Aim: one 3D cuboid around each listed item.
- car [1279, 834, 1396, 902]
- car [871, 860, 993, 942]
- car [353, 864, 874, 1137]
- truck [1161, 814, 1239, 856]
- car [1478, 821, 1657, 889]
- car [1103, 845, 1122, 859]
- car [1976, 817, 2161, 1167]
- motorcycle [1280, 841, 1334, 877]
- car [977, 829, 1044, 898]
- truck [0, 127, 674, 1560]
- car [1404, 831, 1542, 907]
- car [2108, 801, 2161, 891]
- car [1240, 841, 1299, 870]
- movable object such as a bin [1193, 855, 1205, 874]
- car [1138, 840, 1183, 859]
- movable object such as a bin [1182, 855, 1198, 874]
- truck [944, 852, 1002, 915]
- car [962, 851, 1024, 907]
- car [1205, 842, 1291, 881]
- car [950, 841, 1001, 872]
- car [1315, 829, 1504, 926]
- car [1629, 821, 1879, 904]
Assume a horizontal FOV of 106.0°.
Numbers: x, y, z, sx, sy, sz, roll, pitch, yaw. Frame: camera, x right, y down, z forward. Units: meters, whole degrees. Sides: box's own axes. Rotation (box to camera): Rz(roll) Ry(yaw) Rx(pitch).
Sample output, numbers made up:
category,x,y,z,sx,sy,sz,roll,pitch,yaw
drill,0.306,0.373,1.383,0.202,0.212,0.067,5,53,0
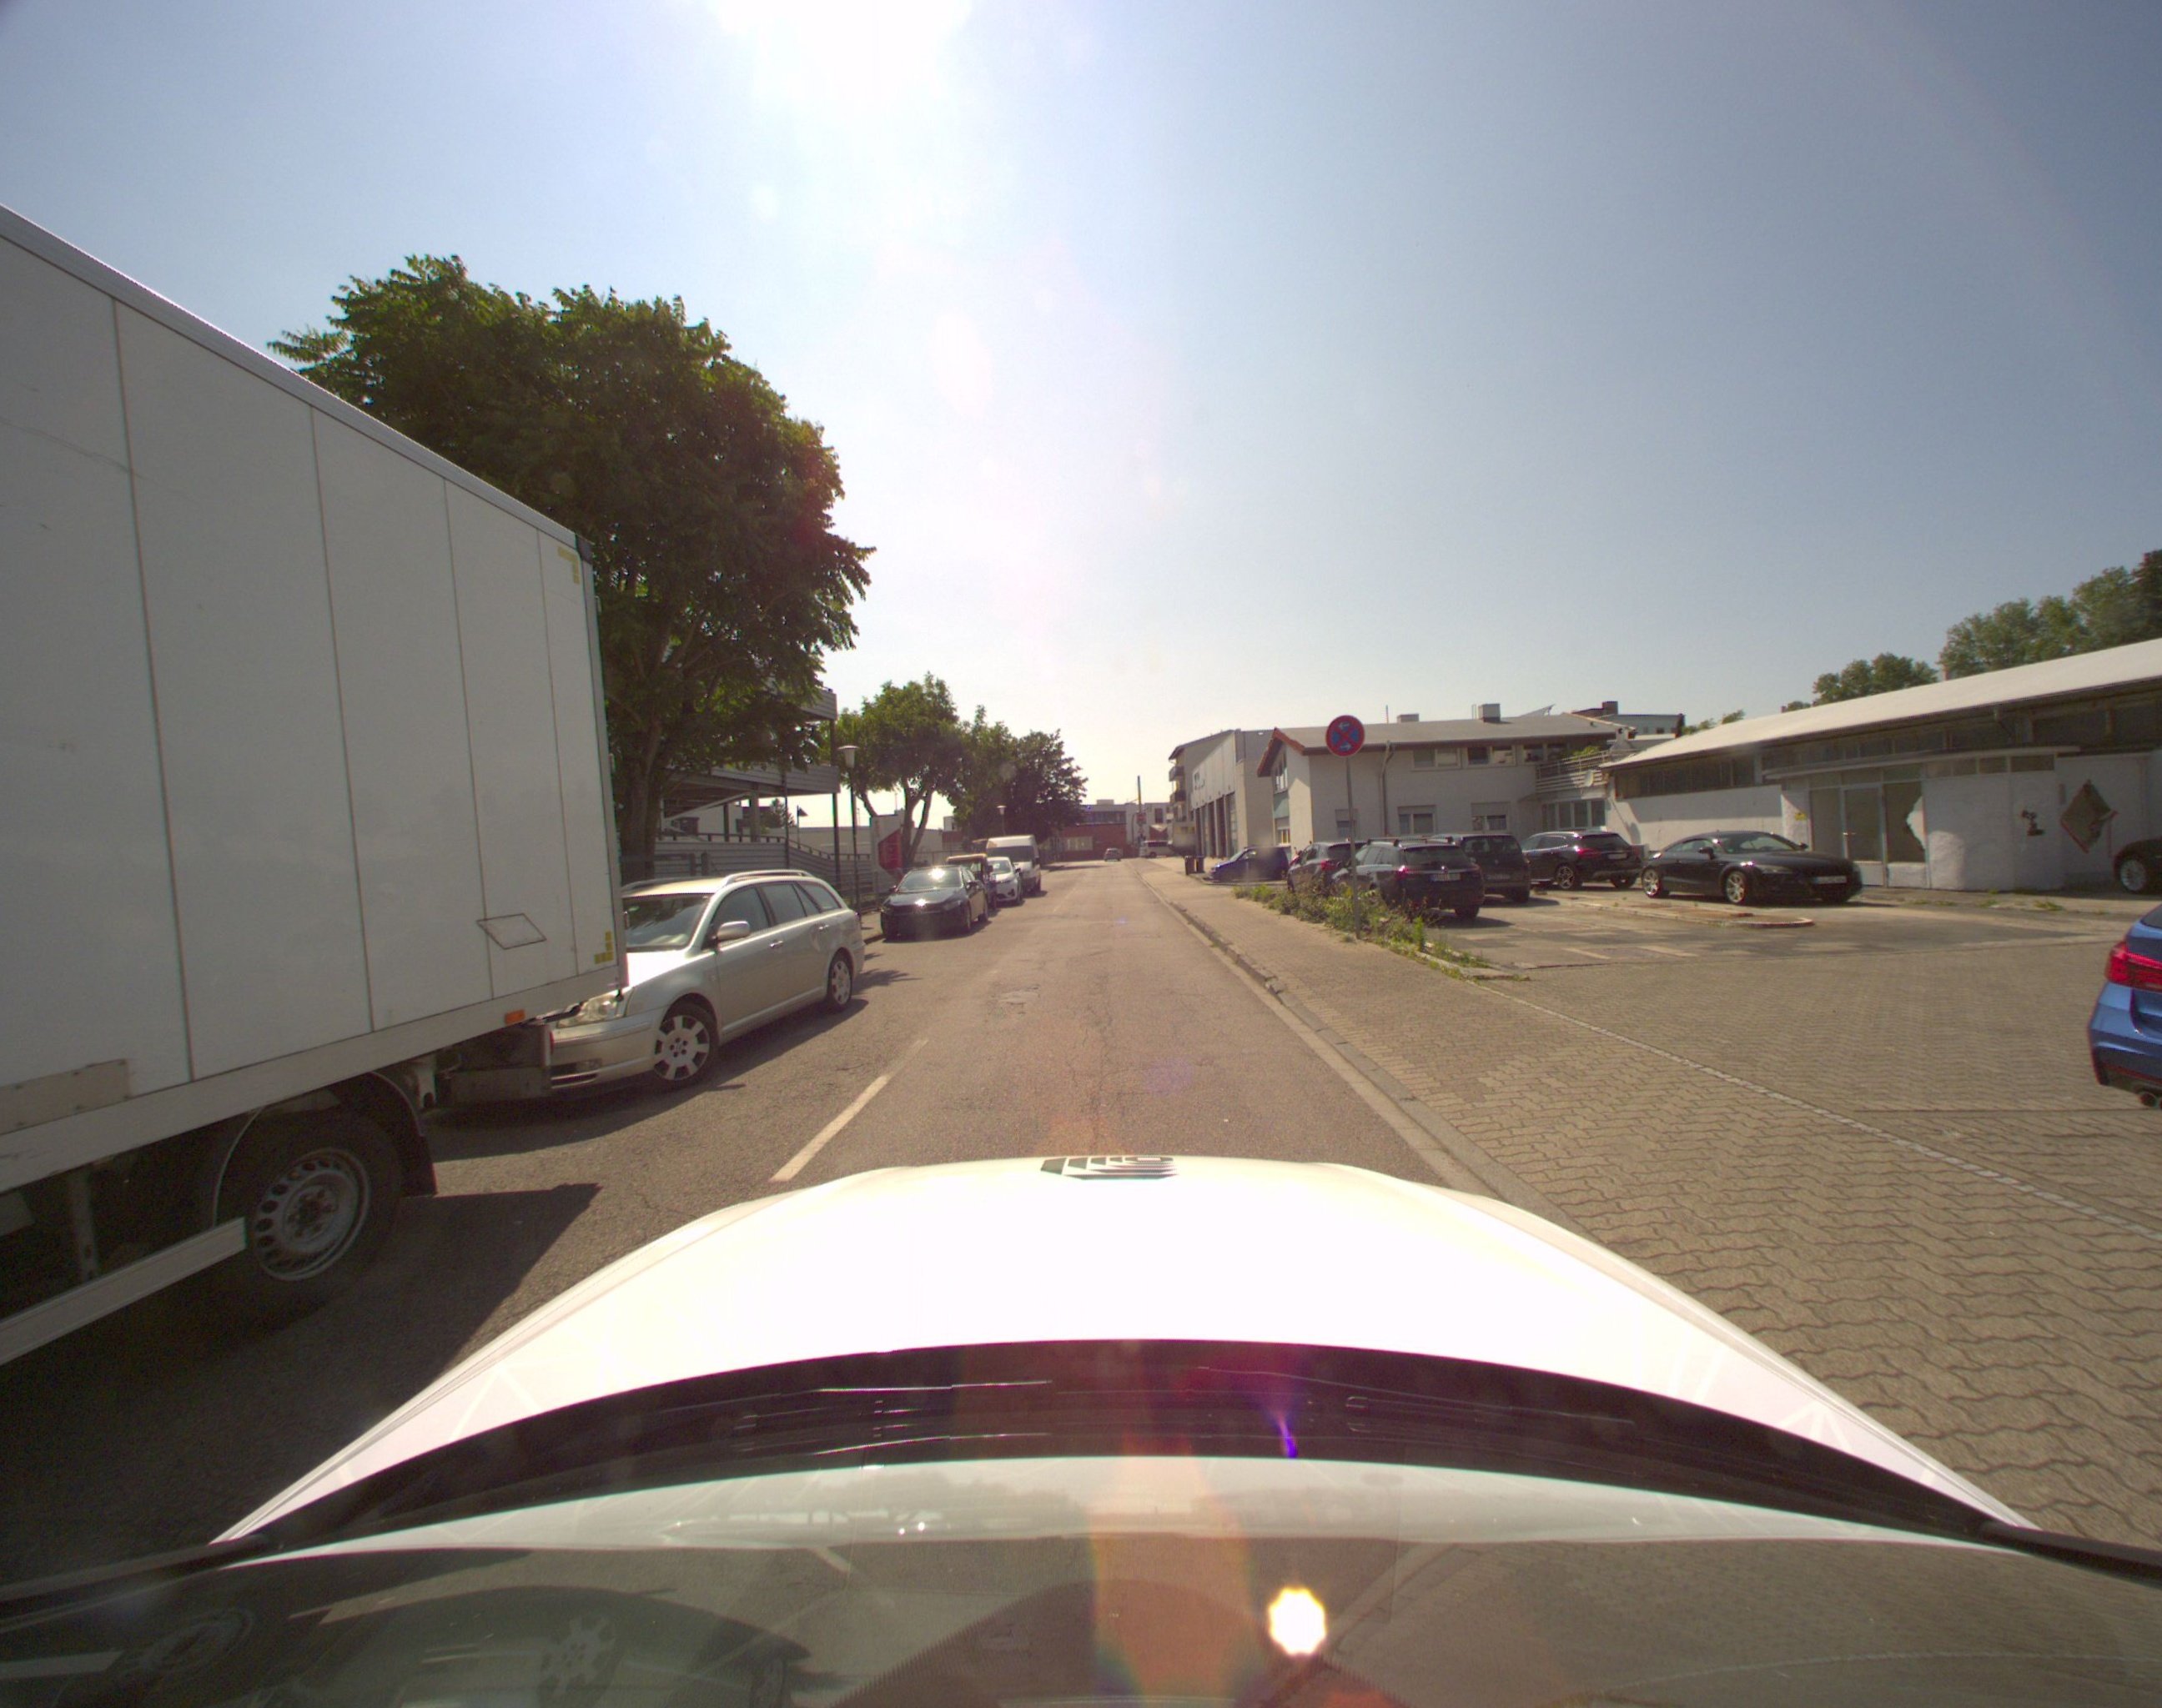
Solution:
category,x,y,z,sx,sy,sz,roll,pitch,yaw
car,6.708,0.327,21.759,1.805,1.558,4.294,-3,0,1
car,-3.145,0.941,18.019,1.698,1.463,4.116,-4,0,2
car,-3.443,0.936,7.162,1.733,1.521,4.316,-4,0,5
truck,12.308,-1.984,84.751,7.346,3.645,2.764,-5,0,-4
car,12.613,0.042,21.454,1.759,1.496,4.137,-4,0,-9
car,3.662,-0.240,96.286,1.886,1.685,3.954,-1,0,-3
car,6.601,0.499,3.067,4.337,1.441,1.893,-2,0,1
motorcycle,8.941,0.205,32.305,1.863,1.279,0.796,-4,0,-1
car,-2.690,0.332,32.157,1.999,2.366,5.229,-4,0,0
truck,-3.885,-0.019,1.237,2.675,3.366,7.131,-3,-1,1
car,9.036,0.294,19.092,1.751,1.595,3.624,1,0,5
car,16.247,-0.126,10.615,1.694,1.324,4.210,-3,0,23
car,11.453,0.083,49.284,1.756,1.539,3.725,-3,0,43
movable object such as a bin,6.044,0.533,41.685,0.510,0.946,0.489,-3,0,13
car,9.105,-0.466,93.248,4.666,1.957,1.905,-3,0,-17
movable object such as a bin,5.535,0.528,41.286,0.562,0.946,0.561,-3,0,35
truck,-3.045,0.791,23.373,1.135,1.622,3.140,-4,0,0
car,-2.829,0.775,26.979,1.700,1.624,3.969,-4,0,-3
car,6.854,0.297,33.648,3.240,1.398,1.674,-3,0,2
car,-9.042,0.217,70.242,4.072,2.513,1.777,-2,0,0
car,6.311,0.400,16.363,1.851,1.567,4.953,-3,0,1
car,12.640,0.144,15.692,1.634,1.324,4.106,-2,0,5
